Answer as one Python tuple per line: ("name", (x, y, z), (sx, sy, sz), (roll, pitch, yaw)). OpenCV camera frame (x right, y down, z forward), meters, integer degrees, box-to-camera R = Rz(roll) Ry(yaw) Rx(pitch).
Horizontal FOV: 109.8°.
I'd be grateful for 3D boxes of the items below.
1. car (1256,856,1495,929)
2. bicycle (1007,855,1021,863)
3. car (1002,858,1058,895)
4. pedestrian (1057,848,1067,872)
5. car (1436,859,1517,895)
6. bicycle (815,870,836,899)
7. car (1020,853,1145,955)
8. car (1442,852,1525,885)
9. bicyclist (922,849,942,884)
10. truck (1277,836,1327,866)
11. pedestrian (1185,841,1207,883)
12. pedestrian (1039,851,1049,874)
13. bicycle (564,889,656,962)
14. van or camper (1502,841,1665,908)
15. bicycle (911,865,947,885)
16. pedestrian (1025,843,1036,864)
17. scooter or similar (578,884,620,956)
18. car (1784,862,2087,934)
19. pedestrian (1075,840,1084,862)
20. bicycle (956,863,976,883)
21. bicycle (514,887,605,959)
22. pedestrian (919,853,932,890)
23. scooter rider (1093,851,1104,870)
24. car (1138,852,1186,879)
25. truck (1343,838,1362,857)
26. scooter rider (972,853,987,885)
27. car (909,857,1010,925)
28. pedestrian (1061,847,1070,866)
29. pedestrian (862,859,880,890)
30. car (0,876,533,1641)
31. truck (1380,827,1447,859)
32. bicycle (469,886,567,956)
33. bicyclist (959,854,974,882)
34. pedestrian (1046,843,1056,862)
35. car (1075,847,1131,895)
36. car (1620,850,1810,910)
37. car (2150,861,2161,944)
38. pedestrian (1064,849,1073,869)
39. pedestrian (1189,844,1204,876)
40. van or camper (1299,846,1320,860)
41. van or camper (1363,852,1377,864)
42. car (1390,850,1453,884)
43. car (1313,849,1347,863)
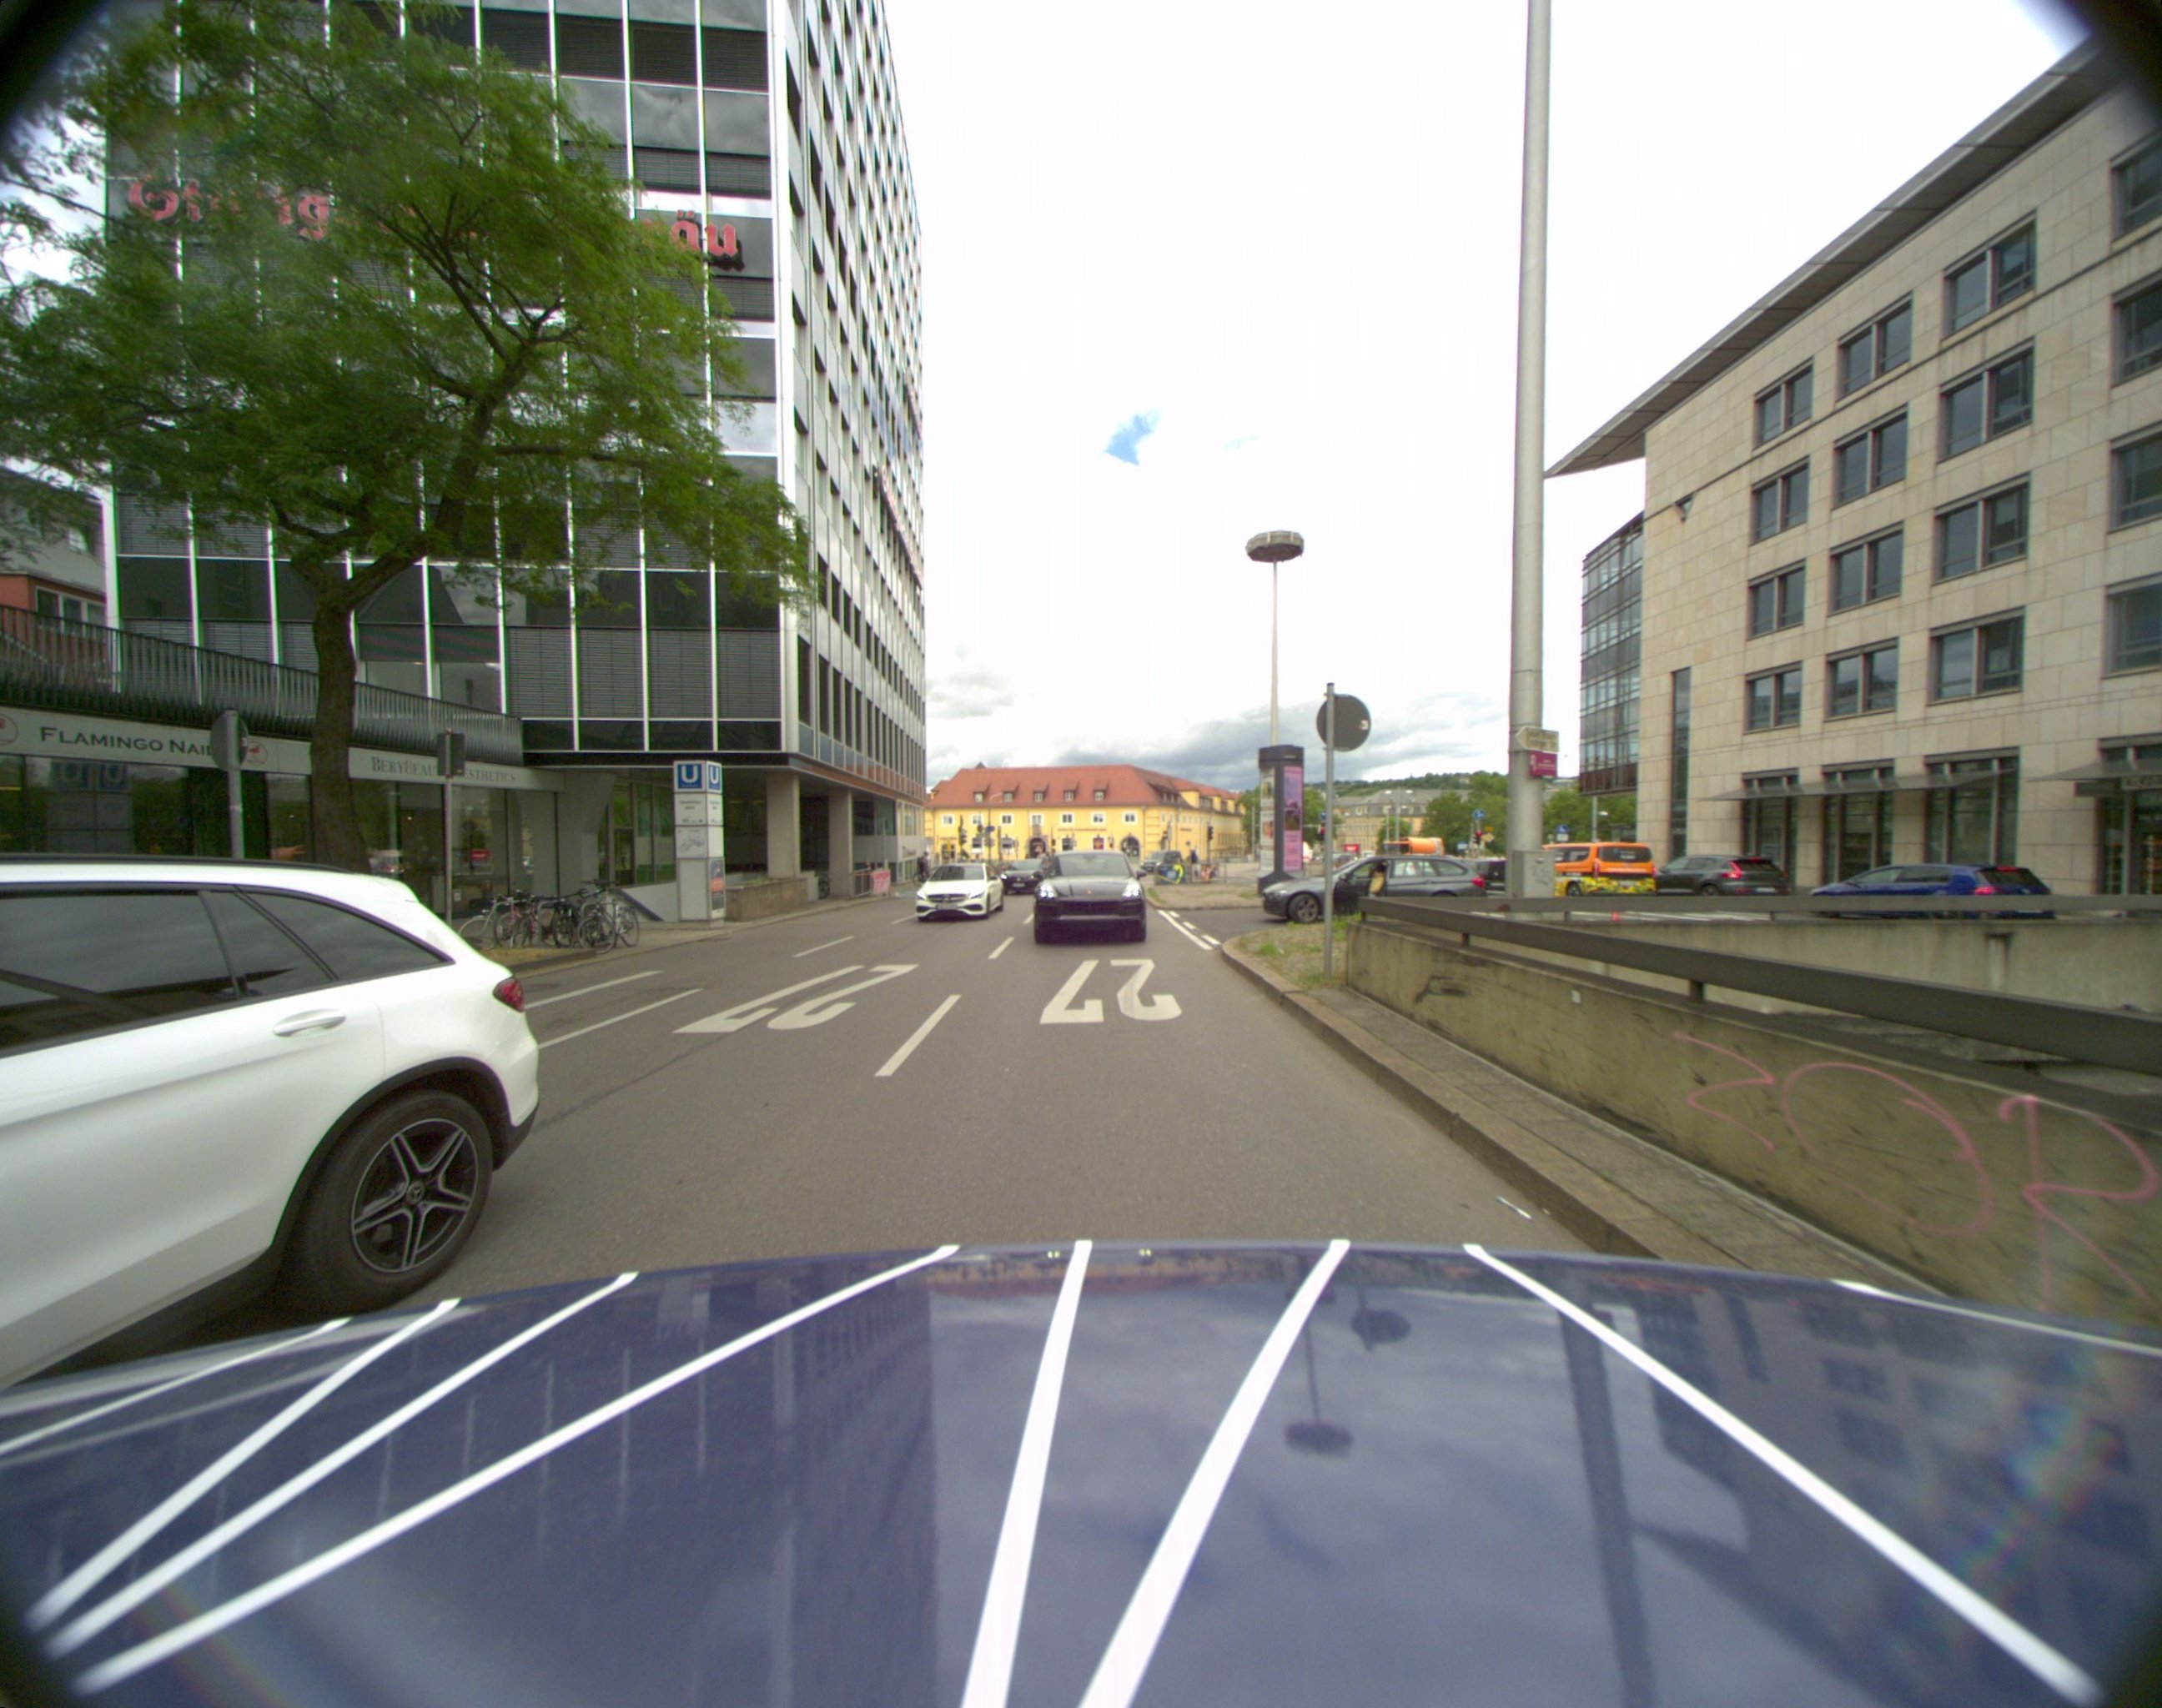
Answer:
("car", (6.193, 0.785, 16.503), (4.558, 1.450, 1.882), (0, 1, 9))
("bicycle", (-8.961, 0.710, 101.975), (1.769, 1.079, 0.622), (0, 1, 10))
("car", (-2.175, 0.930, 33.359), (1.706, 1.524, 3.766), (0, 0, 8))
("pedestrian", (-1.598, 0.513, 64.755), (0.611, 1.953, 0.641), (-1, 1, -23))
("car", (16.311, 0.907, 31.539), (1.560, 1.371, 3.633), (1, 0, 2))
("bicycle", (-9.767, 1.137, 29.051), (0.715, 1.042, 1.484), (-1, 1, -20))
("car", (0.178, 0.808, 14.794), (2.004, 1.629, 5.022), (-1, 0, 3))
("car", (19.603, 0.679, 37.231), (1.998, 1.516, 4.091), (0, 0, 2))
("bicyclist", (-7.898, 0.670, 40.346), (0.812, 1.835, 0.676), (1, 2, 26))
("truck", (21.357, -0.308, 73.204), (5.801, 2.768, 1.951), (0, 1, -43))
("pedestrian", (5.969, 0.395, 39.501), (0.879, 2.160, 0.761), (0, 1, -17))
("pedestrian", (-3.078, 0.701, 63.476), (0.670, 1.852, 0.701), (-1, 1, -20))
("bicycle", (-8.431, 1.244, 13.693), (0.490, 1.126, 1.843), (0, 1, 0))
("van or camper", (15.972, 0.572, 24.562), (1.918, 1.910, 5.083), (1, 1, 1))
("bicycle", (-8.080, 1.104, 40.404), (1.763, 1.001, 0.682), (1, -1, 26))
("pedestrian", (-4.169, -0.052, 62.690), (0.802, 1.688, 0.547), (0, 1, -17))
("scooter or similar", (-8.950, 1.210, 14.122), (0.307, 1.244, 0.995), (-1, 1, -12))
("car", (19.484, 0.920, 17.735), (1.998, 1.387, 4.573), (0, 0, 2))
("pedestrian", (-0.149, -0.301, 68.763), (0.611, 1.944, 0.642), (-1, 1, -19))
("bicycle", (-6.360, 1.058, 42.118), (0.582, 1.021, 1.665), (0, 1, -28))
("bicycle", (-9.406, 1.211, 13.791), (0.491, 1.126, 1.886), (0, 1, -5))
("pedestrian", (-7.395, 0.821, 36.167), (0.526, 1.702, 0.752), (1, 3, -4))
("scooter rider", (1.563, 0.577, 67.035), (0.767, 1.684, 0.745), (-1, 1, -15))
("car", (6.620, 0.919, 61.827), (1.855, 1.977, 4.651), (2, 2, 35))
("truck", (50.167, -1.153, 140.290), (2.785, 3.469, 8.363), (1, 1, 22))
("scooter rider", (-5.770, 0.826, 43.143), (0.594, 1.798, 0.641), (-1, 2, -41))
("car", (-3.085, 0.878, 20.260), (1.870, 1.560, 4.652), (0, 0, 1))
("pedestrian", (-1.376, 0.234, 66.269), (0.611, 1.686, 0.641), (-1, 1, -23))
("pedestrian", (-9.800, 0.948, 35.498), (0.606, 1.434, 0.838), (1, 1, -4))
("car", (-3.343, 0.952, 1.172), (1.806, 1.637, 4.333), (1, 1, 1))
("truck", (38.967, -1.303, 88.813), (9.194, 3.595, 2.721), (-1, 2, -34))
("bicycle", (-10.296, 1.195, 13.979), (0.490, 1.126, 1.688), (0, 1, 2))
("bicyclist", (-6.323, 0.774, 42.043), (0.566, 1.541, 0.844), (0, 2, -28))
("pedestrian", (-2.643, -0.114, 67.094), (0.611, 1.686, 0.641), (-1, 1, -23))
("car", (1.009, 0.793, 32.245), (2.095, 1.598, 4.418), (-3, -5, 4))
("car", (19.484, 0.727, 23.688), (1.998, 1.636, 4.683), (1, 1, 1))
("car", (19.598, 0.879, 11.266), (1.773, 1.440, 4.030), (2, 1, 1))
("pedestrian", (-1.111, 0.466, 67.468), (0.611, 1.786, 0.641), (-1, 1, -23))
("pedestrian", (6.636, 0.329, 43.709), (0.717, 1.780, 0.634), (3, 0, 1))
("van or camper", (37.876, -0.237, 125.959), (2.369, 2.249, 6.298), (1, 1, 25))
("van or camper", (47.354, 0.669, 124.420), (1.861, 1.905, 4.721), (1, 1, 22))
("car", (16.976, 0.607, 38.089), (1.737, 1.589, 4.321), (0, 1, 8))
("car", (30.097, 0.219, 92.071), (3.803, 1.567, 2.002), (0, 1, 15))
